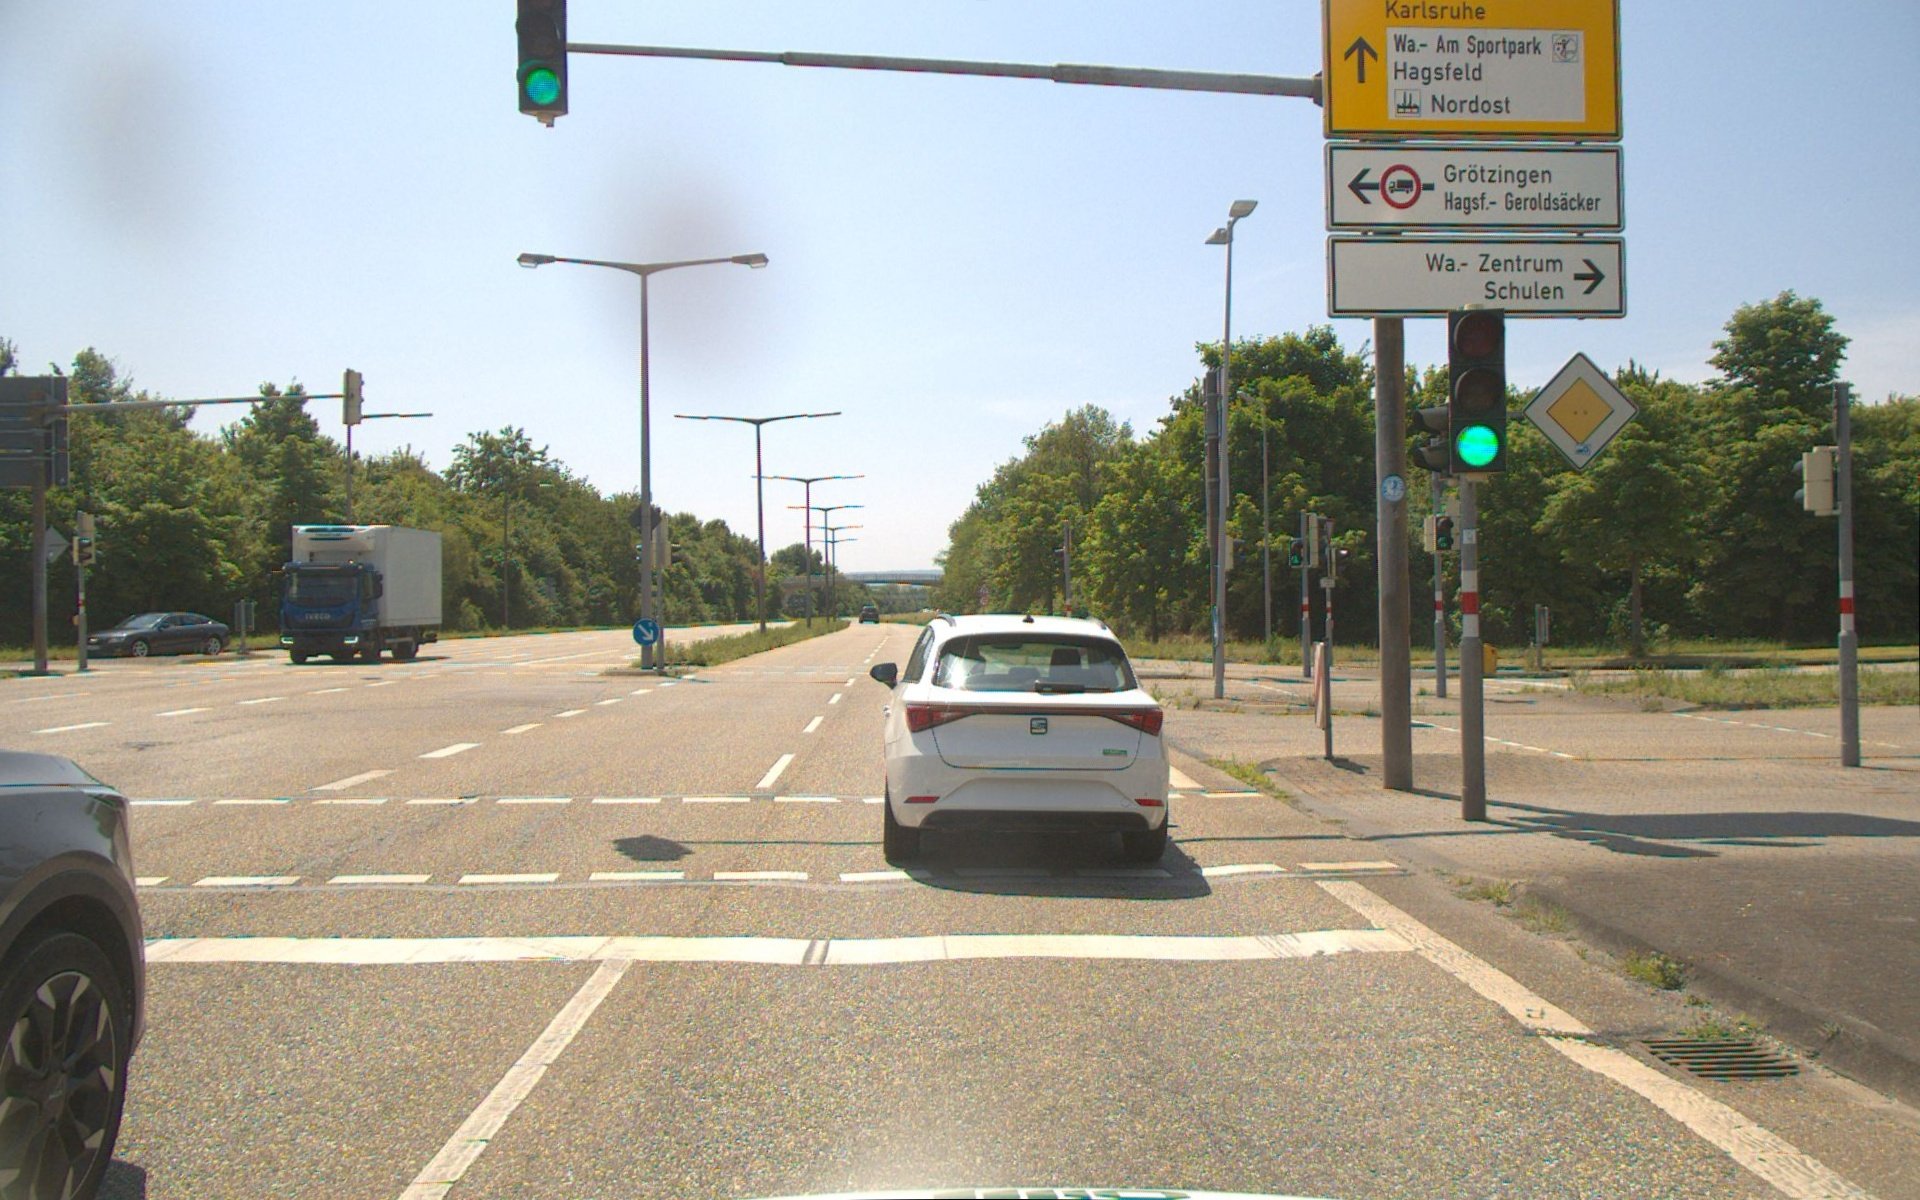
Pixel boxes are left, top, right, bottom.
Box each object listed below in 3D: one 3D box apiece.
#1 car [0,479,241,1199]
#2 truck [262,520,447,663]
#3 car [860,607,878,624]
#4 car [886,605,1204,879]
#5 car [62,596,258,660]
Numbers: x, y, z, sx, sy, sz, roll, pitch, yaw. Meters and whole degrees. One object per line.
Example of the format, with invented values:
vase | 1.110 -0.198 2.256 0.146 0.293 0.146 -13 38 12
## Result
car | -2.819 0.593 2.211 1.767 1.691 4.642 0 -1 -1
truck | -16.542 -0.213 45.731 2.633 3.633 7.265 0 0 -2
car | -10.182 1.739 184.893 1.817 1.738 4.000 -2 0 0
car | 0.426 0.803 10.798 1.699 1.453 3.693 1 -1 -1
car | -23.256 0.772 48.249 1.792 1.762 4.908 -1 0 36
